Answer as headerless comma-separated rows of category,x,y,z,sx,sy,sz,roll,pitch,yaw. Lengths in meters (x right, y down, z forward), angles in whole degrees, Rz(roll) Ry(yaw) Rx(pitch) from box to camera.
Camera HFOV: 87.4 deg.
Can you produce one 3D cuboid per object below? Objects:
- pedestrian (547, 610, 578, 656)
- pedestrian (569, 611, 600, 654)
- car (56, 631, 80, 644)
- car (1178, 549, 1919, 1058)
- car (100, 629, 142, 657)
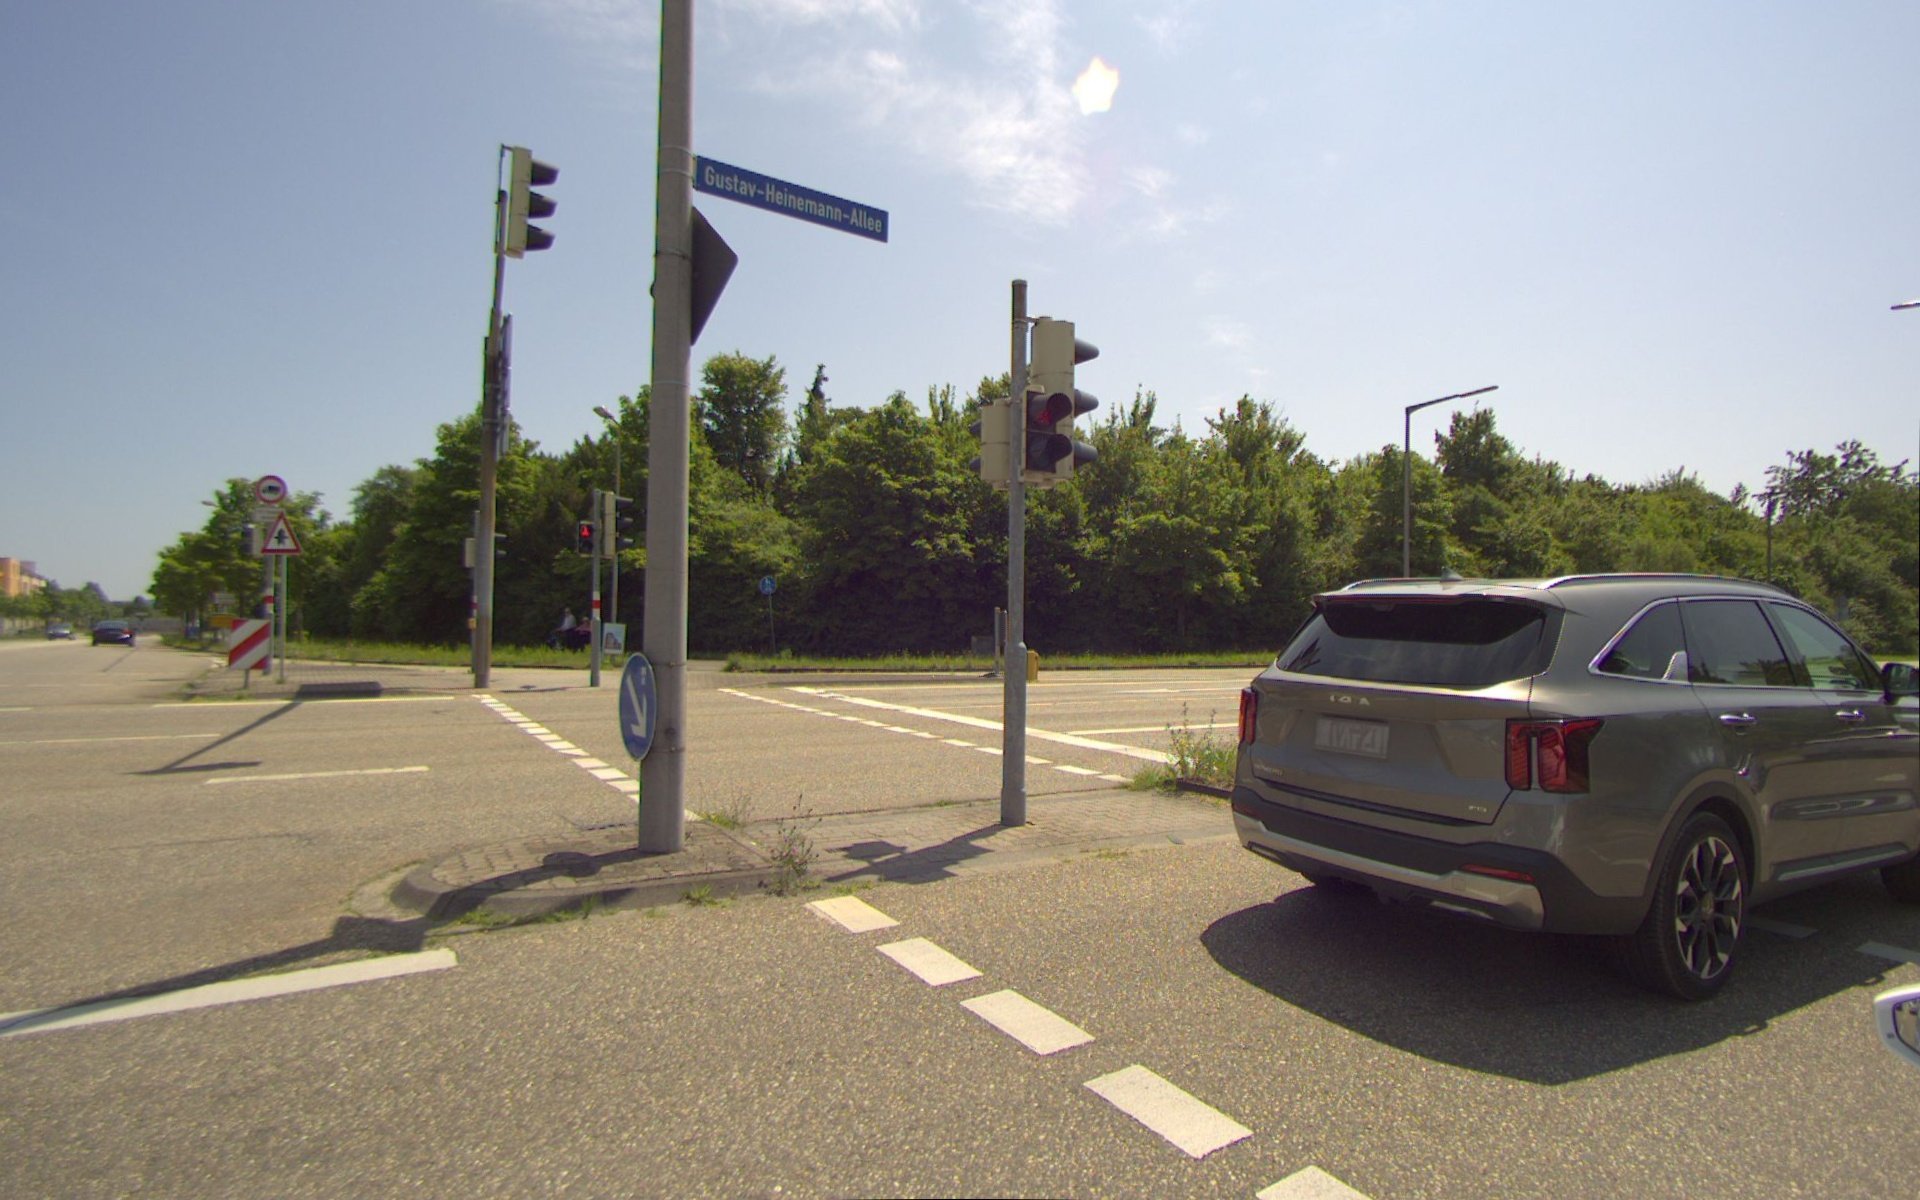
pedestrian,-14.227,1.171,35.978,0.606,1.624,0.798,0,-1,25
pedestrian,-13.293,1.150,35.565,0.606,1.523,0.798,0,-1,25
car,-91.491,3.854,103.004,1.278,1.139,3.181,2,0,-32
car,3.501,0.744,5.257,4.588,1.684,1.796,2,-1,-29
car,-46.324,2.336,55.439,1.728,1.439,3.952,2,-2,-41
